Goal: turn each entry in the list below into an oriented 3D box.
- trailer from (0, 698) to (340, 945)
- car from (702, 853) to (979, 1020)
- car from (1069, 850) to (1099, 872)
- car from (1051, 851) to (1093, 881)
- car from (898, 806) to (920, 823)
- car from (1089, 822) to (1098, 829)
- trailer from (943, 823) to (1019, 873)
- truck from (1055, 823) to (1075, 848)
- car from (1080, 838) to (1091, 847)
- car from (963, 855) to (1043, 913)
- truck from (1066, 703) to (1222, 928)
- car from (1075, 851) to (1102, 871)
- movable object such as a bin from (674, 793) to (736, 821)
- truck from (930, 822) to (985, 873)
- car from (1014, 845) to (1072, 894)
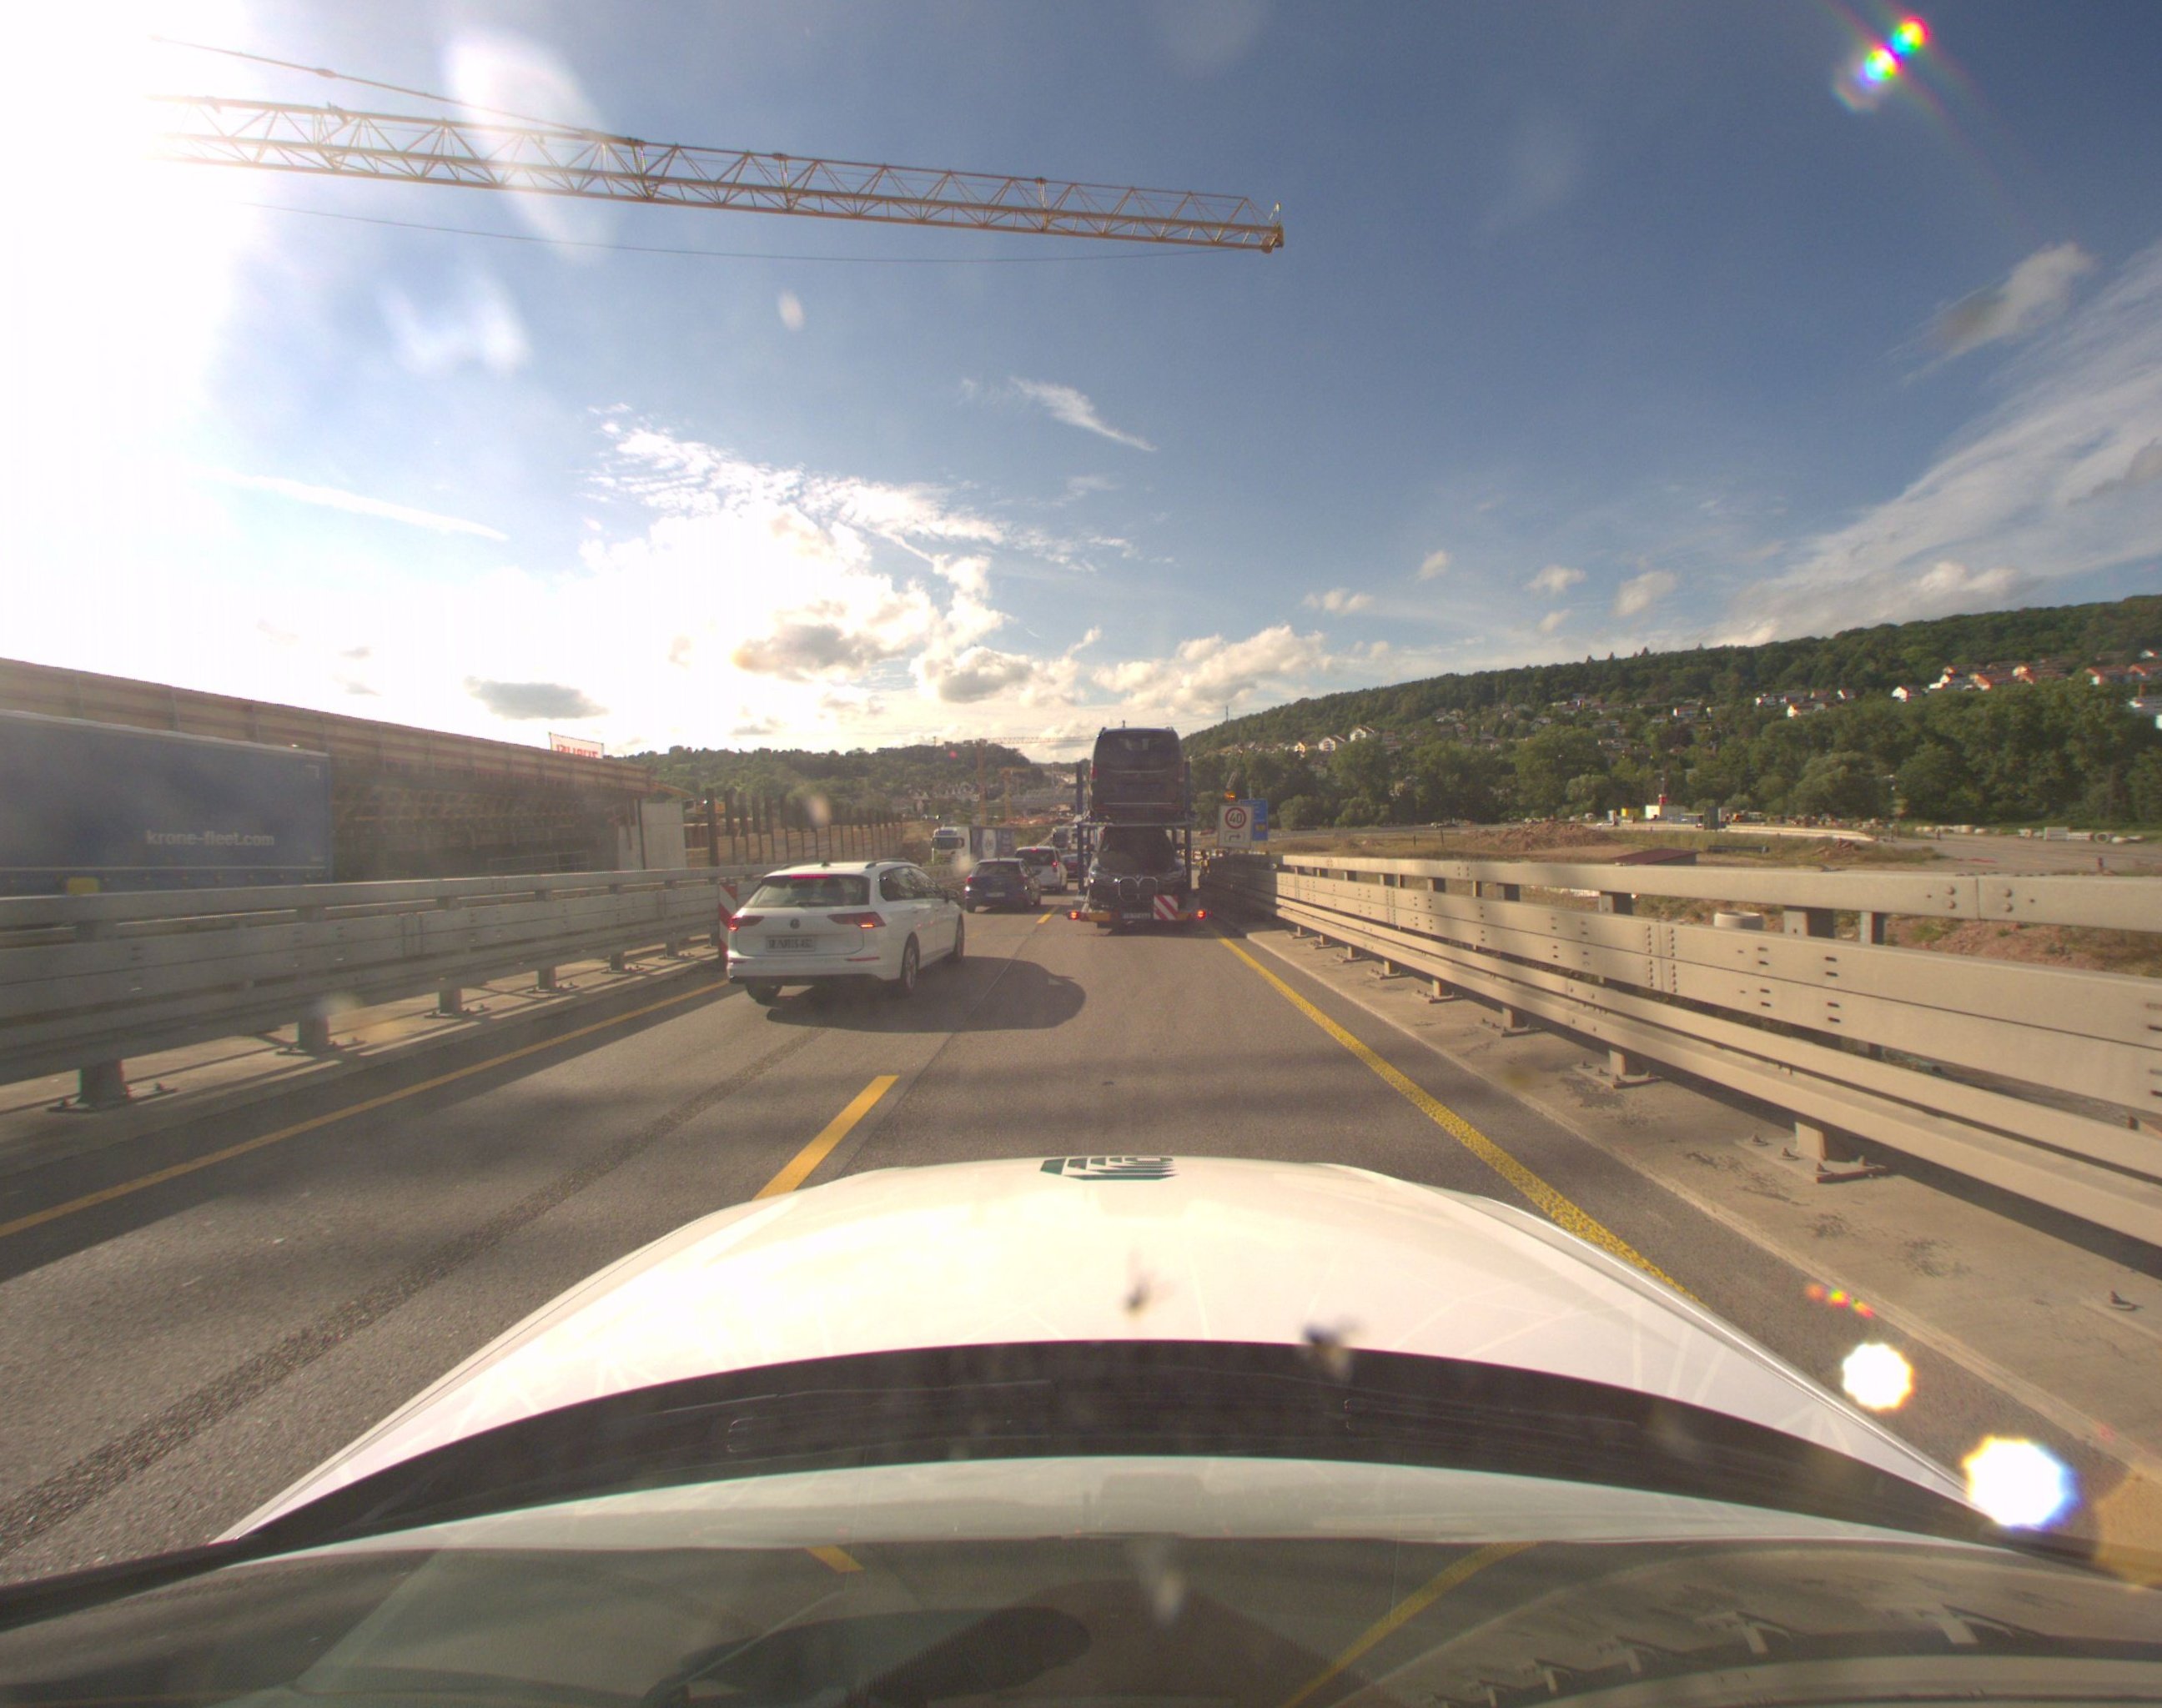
[{"bbox_3d":[-17.470,-0.483,10.643,2.852,3.667,13.534,-1,-1,2],"label":"trailer"},{"bbox_3d":[-2.551,0.775,9.909,1.763,1.491,4.520,-2,0,3],"label":"car"},{"bbox_3d":[0.254,0.497,58.377,1.985,1.552,4.003,-1,-1,3],"label":"car"},{"bbox_3d":[-0.440,0.646,45.415,1.985,1.556,4.405,-1,-1,4],"label":"car"},{"bbox_3d":[-27.258,-6.212,129.082,1.986,2.140,5.324,-6,-1,2],"label":"car"},{"bbox_3d":[3.444,-7.931,225.378,2.119,1.674,4.271,-2,0,-1],"label":"car"},{"bbox_3d":[-9.040,-0.444,75.899,2.670,4.156,13.855,-1,-1,12],"label":"trailer"},{"bbox_3d":[-2.629,-2.984,130.857,2.772,3.788,6.009,-1,-1,-4],"label":"truck"},{"bbox_3d":[0.843,-2.272,159.980,1.988,1.726,4.120,-1,-1,-1],"label":"car"},{"bbox_3d":[-2.087,0.768,22.866,1.715,1.422,4.002,-1,0,2],"label":"car"},{"bbox_3d":[1.447,-0.598,23.803,2.743,3.955,18.897,0,-1,2],"label":"truck"},{"bbox_3d":[0.643,0.597,67.188,1.985,1.552,4.004,-1,-1,4],"label":"car"},{"bbox_3d":[-49.161,-6.098,106.681,5.705,3.270,4.527,-1,-1,14],"label":"movable object such as a bin"},{"bbox_3d":[-10.408,-0.493,69.314,2.694,4.137,5.989,-1,-1,12],"label":"truck"},{"bbox_3d":[-1.423,0.581,31.930,1.815,1.792,4.004,-1,-1,4],"label":"car"}]
